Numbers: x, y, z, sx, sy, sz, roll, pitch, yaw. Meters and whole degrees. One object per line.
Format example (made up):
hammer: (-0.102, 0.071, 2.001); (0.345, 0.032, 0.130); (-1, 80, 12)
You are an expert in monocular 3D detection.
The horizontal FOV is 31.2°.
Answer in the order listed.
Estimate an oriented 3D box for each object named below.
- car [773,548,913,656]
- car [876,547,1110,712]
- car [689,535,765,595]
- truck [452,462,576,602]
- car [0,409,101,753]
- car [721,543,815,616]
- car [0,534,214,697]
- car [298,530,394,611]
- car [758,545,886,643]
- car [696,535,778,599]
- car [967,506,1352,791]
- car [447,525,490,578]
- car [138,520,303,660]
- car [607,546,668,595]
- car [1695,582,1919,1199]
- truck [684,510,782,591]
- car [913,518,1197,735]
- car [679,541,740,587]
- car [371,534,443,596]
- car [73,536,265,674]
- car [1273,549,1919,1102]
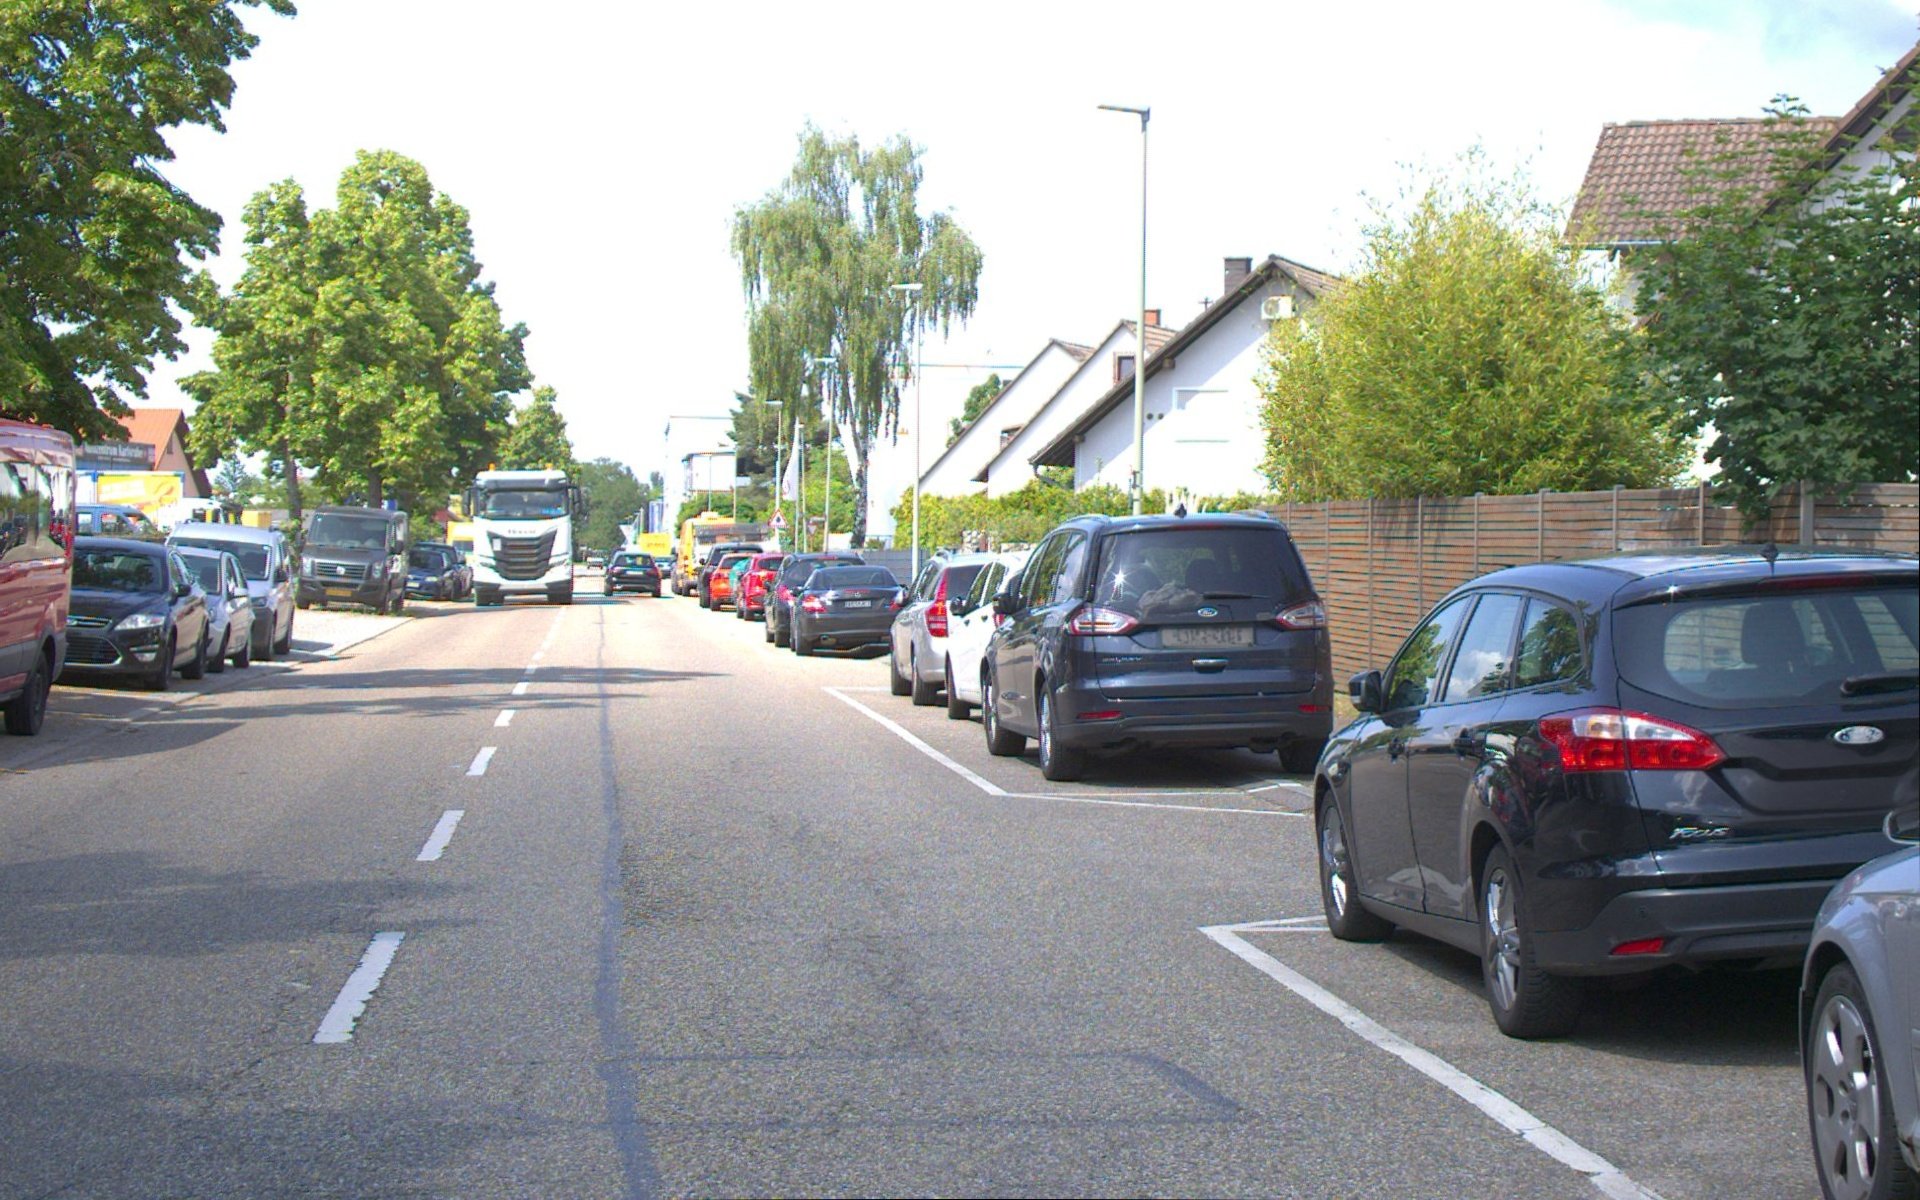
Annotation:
car: (-1.800, 0.001, 51.652); (1.794, 1.518, 3.974); (1, 1, -6)
car: (0.266, 0.250, 34.389); (1.794, 1.518, 3.974); (1, 1, -7)
car: (-6.090, -0.928, 89.486); (1.794, 1.518, 4.532); (1, 1, -6)
truck: (-11.944, -1.832, 93.013); (2.862, 3.500, 12.357); (1, 1, -5)
car: (-7.961, -0.209, 25.199); (2.063, 2.492, 5.842); (5, 1, -4)
car: (-4.215, -0.468, 74.993); (1.794, 1.518, 4.532); (1, 1, -6)
car: (-8.892, 0.124, 35.694); (1.786, 1.452, 4.436); (5, 0, -8)
car: (-13.564, -0.663, 76.170); (1.786, 1.595, 4.436); (5, 0, -8)
car: (-2.287, -0.126, 56.173); (1.794, 1.518, 3.974); (1, 1, -6)
car: (-5.516, -0.826, 84.676); (1.794, 1.518, 4.532); (1, 1, -6)
car: (1.244, 0.263, 23.514); (1.794, 1.742, 4.585); (1, 1, -7)
car: (-21.110, -2.083, 147.651); (1.786, 2.244, 4.774); (0, 1, -8)
car: (-10.309, -0.165, 48.176); (1.786, 1.740, 4.436); (5, 0, -8)
car: (-10.439, -0.958, 111.162); (1.794, 1.518, 4.533); (1, 1, -7)
car: (2.757, 0.711, 6.283); (1.737, 1.452, 4.365); (-1, 1, -2)
truck: (-6.671, -1.447, 100.462); (2.568, 2.252, 6.536); (1, 1, -6)
car: (0.752, 0.184, 29.895); (1.794, 1.742, 3.974); (1, 1, -8)
car: (-8.520, -1.233, 116.628); (1.794, 1.518, 4.533); (1, 1, -7)
car: (-15.628, -0.996, 97.333); (1.786, 1.595, 4.436); (5, 0, -8)
car: (-9.593, 0.030, 41.981); (1.786, 1.452, 4.436); (5, 0, -8)
car: (2.330, 0.598, 11.739); (1.737, 1.504, 4.476); (1, 1, -5)
